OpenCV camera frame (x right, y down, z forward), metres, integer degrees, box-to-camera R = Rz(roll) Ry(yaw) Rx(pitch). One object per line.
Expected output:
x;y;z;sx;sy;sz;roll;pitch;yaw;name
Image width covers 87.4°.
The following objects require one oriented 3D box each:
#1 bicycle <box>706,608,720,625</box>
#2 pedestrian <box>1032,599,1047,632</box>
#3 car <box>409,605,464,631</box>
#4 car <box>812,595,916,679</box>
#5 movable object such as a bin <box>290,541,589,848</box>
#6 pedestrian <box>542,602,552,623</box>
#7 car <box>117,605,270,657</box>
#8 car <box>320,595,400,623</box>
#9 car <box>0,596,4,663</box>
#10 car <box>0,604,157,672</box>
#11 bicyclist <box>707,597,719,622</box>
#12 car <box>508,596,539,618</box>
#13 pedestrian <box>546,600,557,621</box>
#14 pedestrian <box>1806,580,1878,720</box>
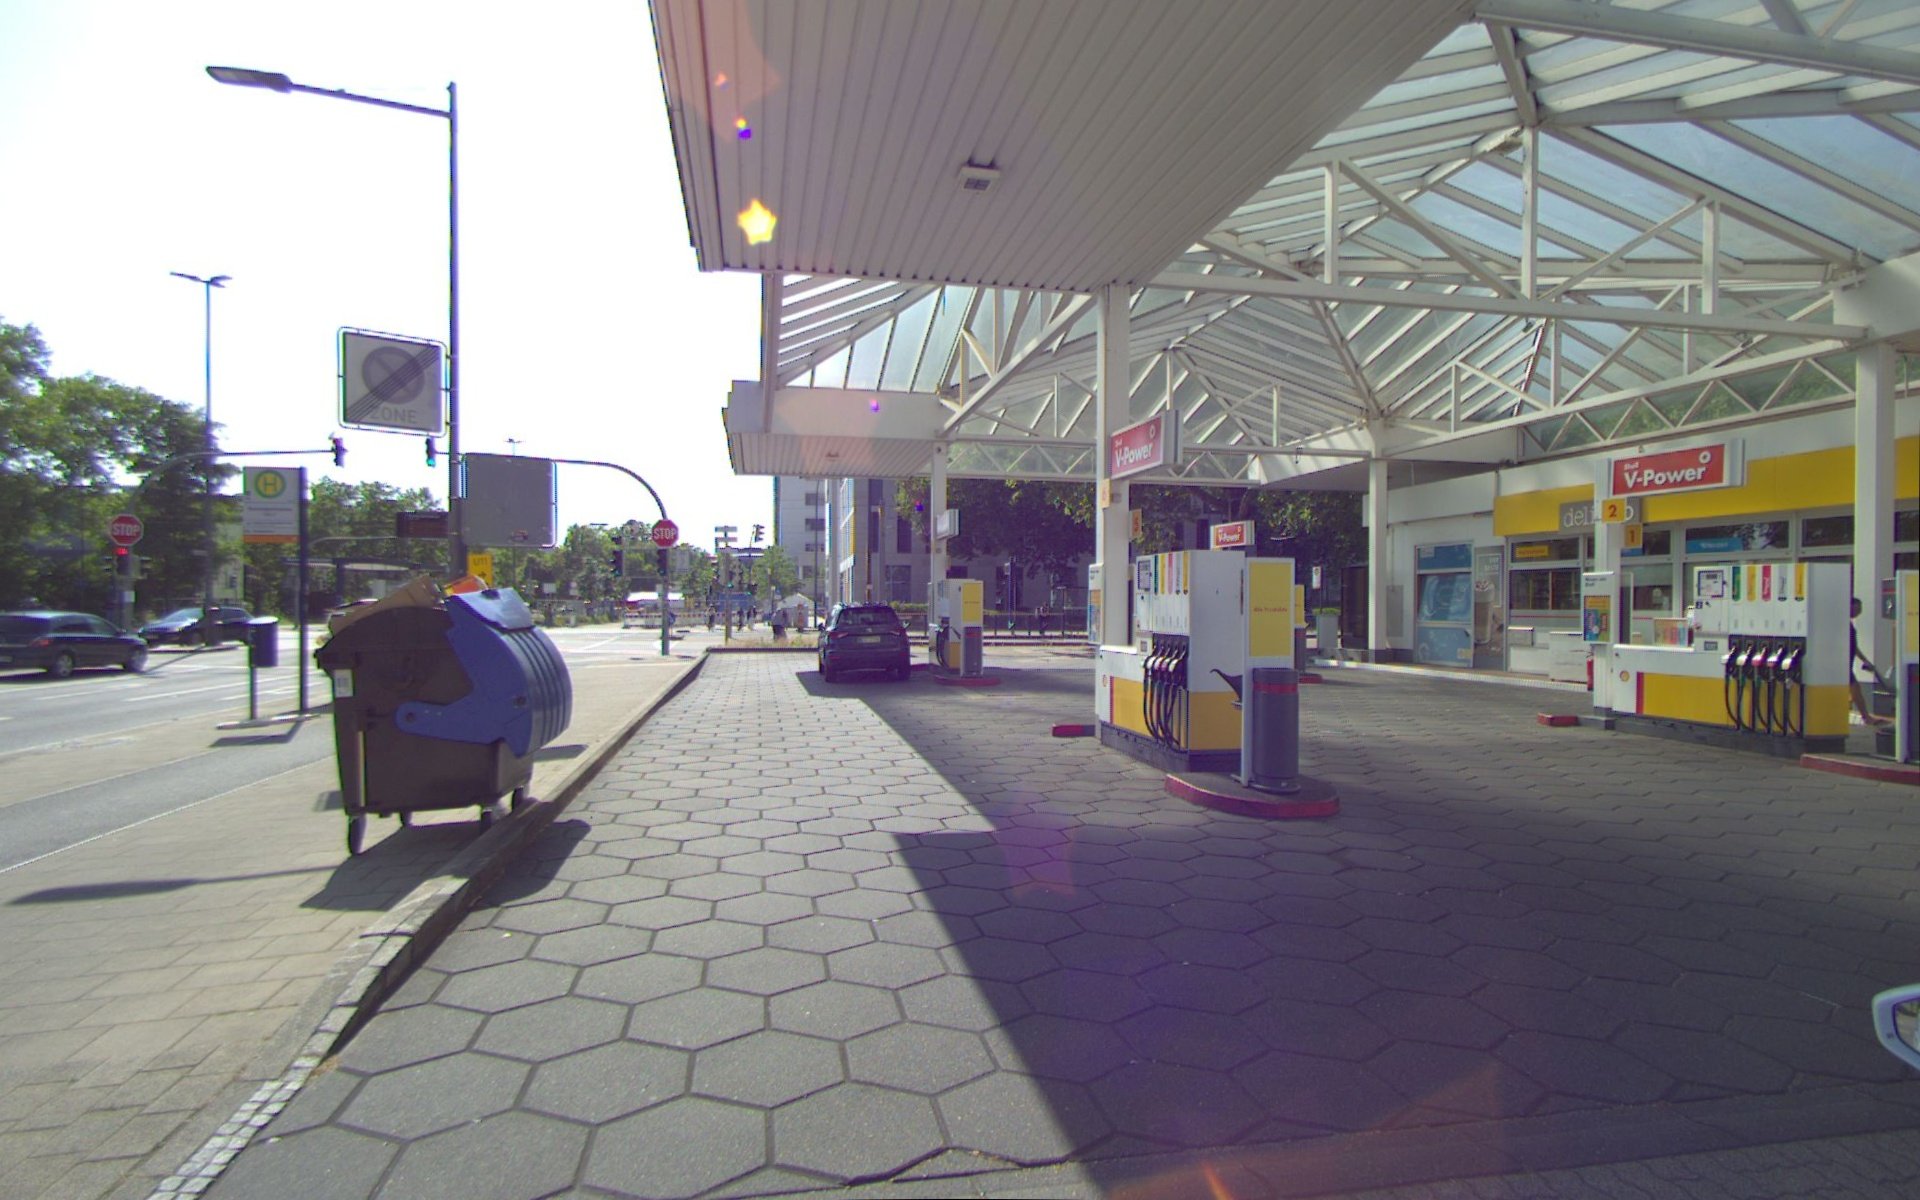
-16.376;1.066;66.612;0.630;1.096;2.016;1;0;-21;bicycle
4.000;0.781;50.531;0.575;1.613;0.668;0;2;-12;pedestrian
-38.545;1.292;74.056;1.961;1.829;4.210;-1;0;-2;car
-2.109;0.720;21.042;1.719;1.552;3.991;-1;0;-12;car
-3.235;0.533;6.470;1.319;1.710;1.335;-2;0;-10;movable object such as a bin
-29.484;0.880;71.662;0.555;1.488;0.512;0;0;-11;pedestrian
-28.256;1.104;37.228;1.959;1.792;4.393;0;0;7;car
-38.580;0.595;64.681;1.963;1.727;3.994;0;0;28;car
-26.284;0.756;24.624;1.964;1.792;4.383;1;0;-10;car
-20.710;0.811;23.225;1.656;1.385;3.993;2;-1;-12;car
-16.376;0.614;66.620;0.630;1.601;1.167;1;0;-20;bicyclist
-42.674;0.693;98.263;1.966;2.040;4.435;-1;0;-14;car
-29.501;0.765;72.534;0.554;1.488;0.513;0;0;-6;pedestrian
11.580;0.638;13.189;0.524;1.785;0.568;1;0;-32;pedestrian
